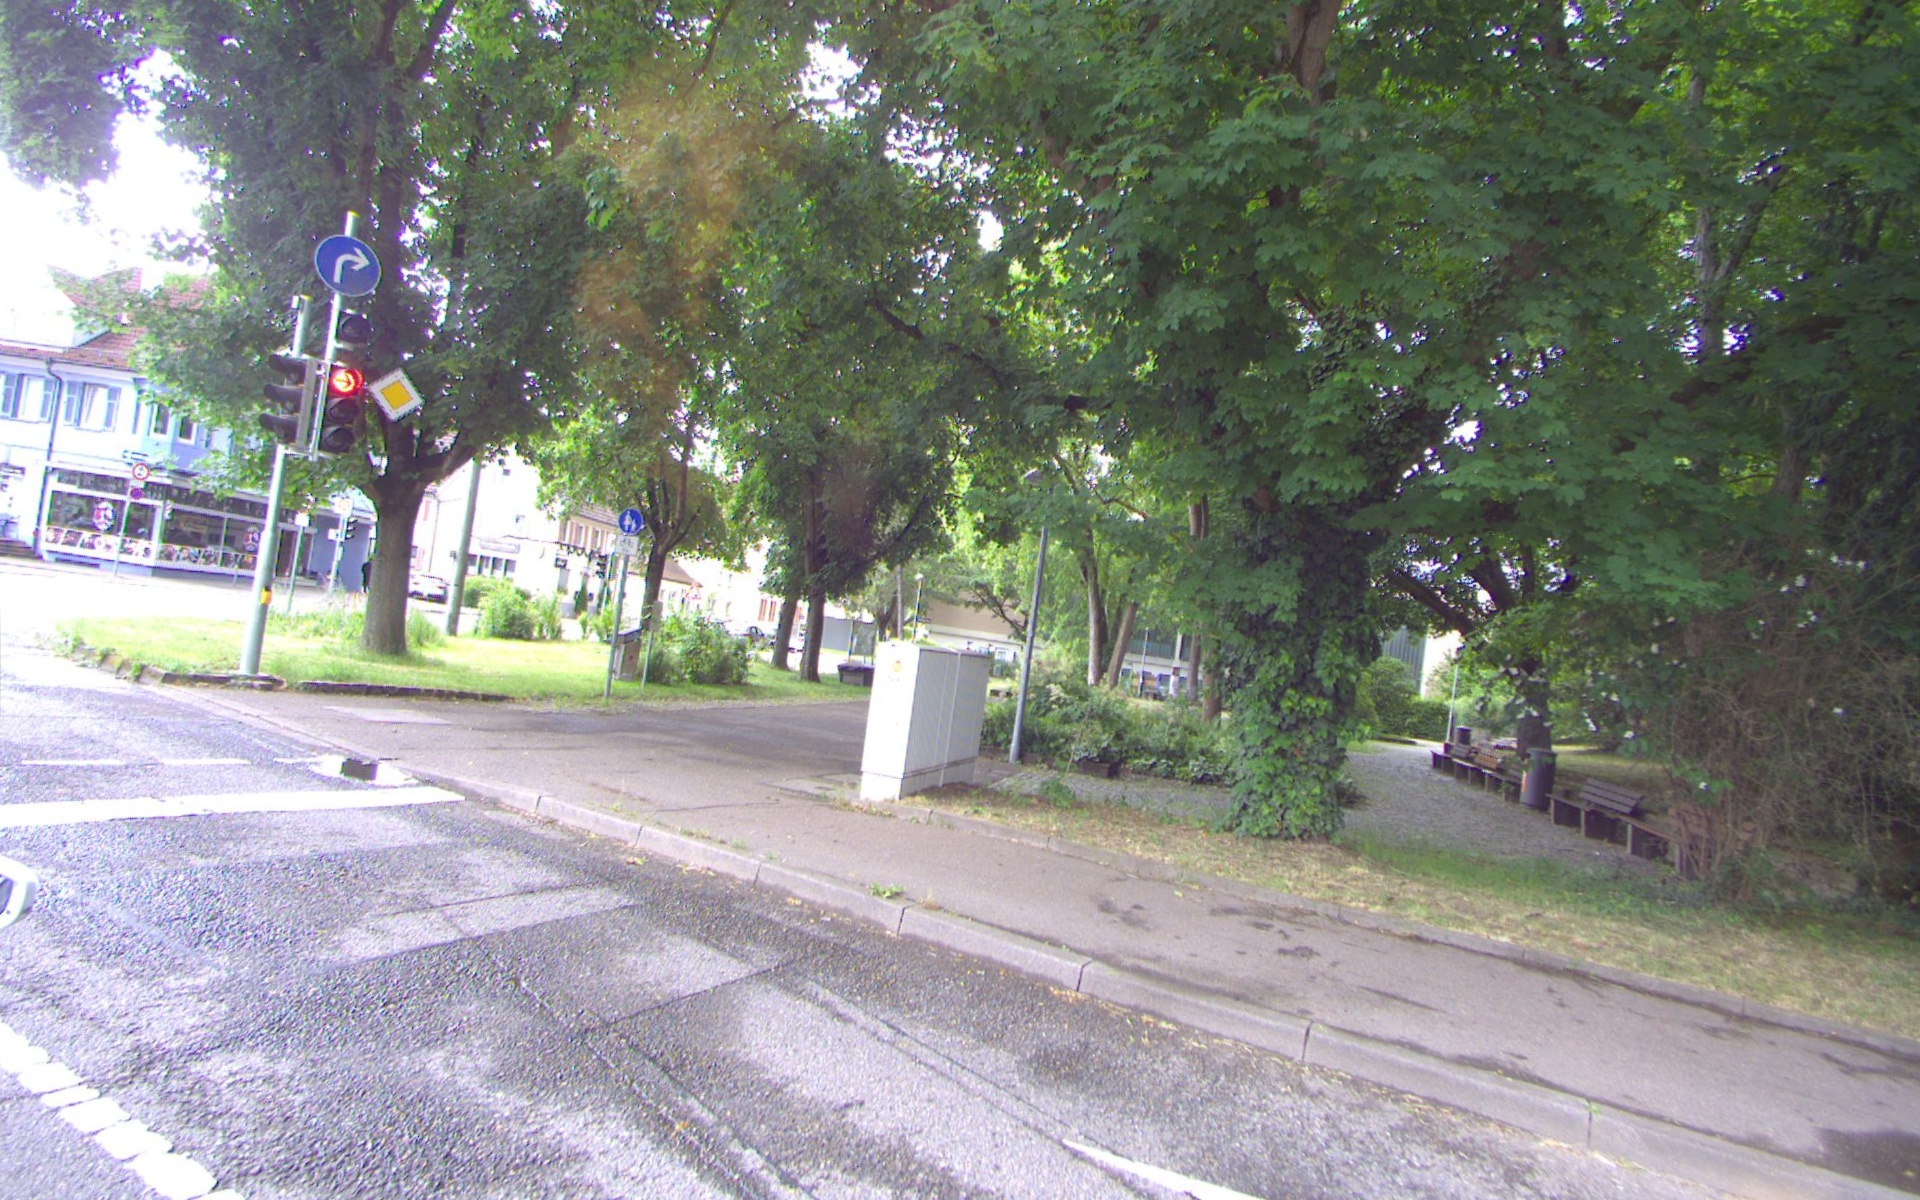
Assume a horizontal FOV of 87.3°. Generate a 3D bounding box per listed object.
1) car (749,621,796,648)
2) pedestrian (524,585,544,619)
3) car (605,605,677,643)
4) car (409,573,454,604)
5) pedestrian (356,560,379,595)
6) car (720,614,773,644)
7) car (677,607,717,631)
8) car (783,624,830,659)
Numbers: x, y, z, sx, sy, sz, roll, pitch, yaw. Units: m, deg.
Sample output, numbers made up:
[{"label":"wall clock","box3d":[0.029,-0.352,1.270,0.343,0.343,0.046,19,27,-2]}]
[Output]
[{"label":"car","box3d":[-11.168,2.071,60.107,1.530,1.336,3.514,7,-2,8]},{"label":"pedestrian","box3d":[-22.157,0.113,52.340,0.601,1.668,0.609,7,-1,-4]},{"label":"car","box3d":[-14.010,1.091,44.358,1.530,1.336,3.514,7,-2,9]},{"label":"car","box3d":[-27.871,-0.602,53.145,1.479,1.384,3.166,8,-2,-19]},{"label":"pedestrian","box3d":[-27.485,-1.023,46.661,0.576,1.535,0.460,7,-1,12]},{"label":"car","box3d":[-11.569,1.597,54.822,1.530,1.336,3.514,7,-2,9]},{"label":"car","box3d":[-19.371,1.443,74.250,1.528,1.436,4.005,7,-2,4]},{"label":"car","box3d":[-10.057,2.759,66.176,1.750,2.037,4.005,7,-2,7]}]
